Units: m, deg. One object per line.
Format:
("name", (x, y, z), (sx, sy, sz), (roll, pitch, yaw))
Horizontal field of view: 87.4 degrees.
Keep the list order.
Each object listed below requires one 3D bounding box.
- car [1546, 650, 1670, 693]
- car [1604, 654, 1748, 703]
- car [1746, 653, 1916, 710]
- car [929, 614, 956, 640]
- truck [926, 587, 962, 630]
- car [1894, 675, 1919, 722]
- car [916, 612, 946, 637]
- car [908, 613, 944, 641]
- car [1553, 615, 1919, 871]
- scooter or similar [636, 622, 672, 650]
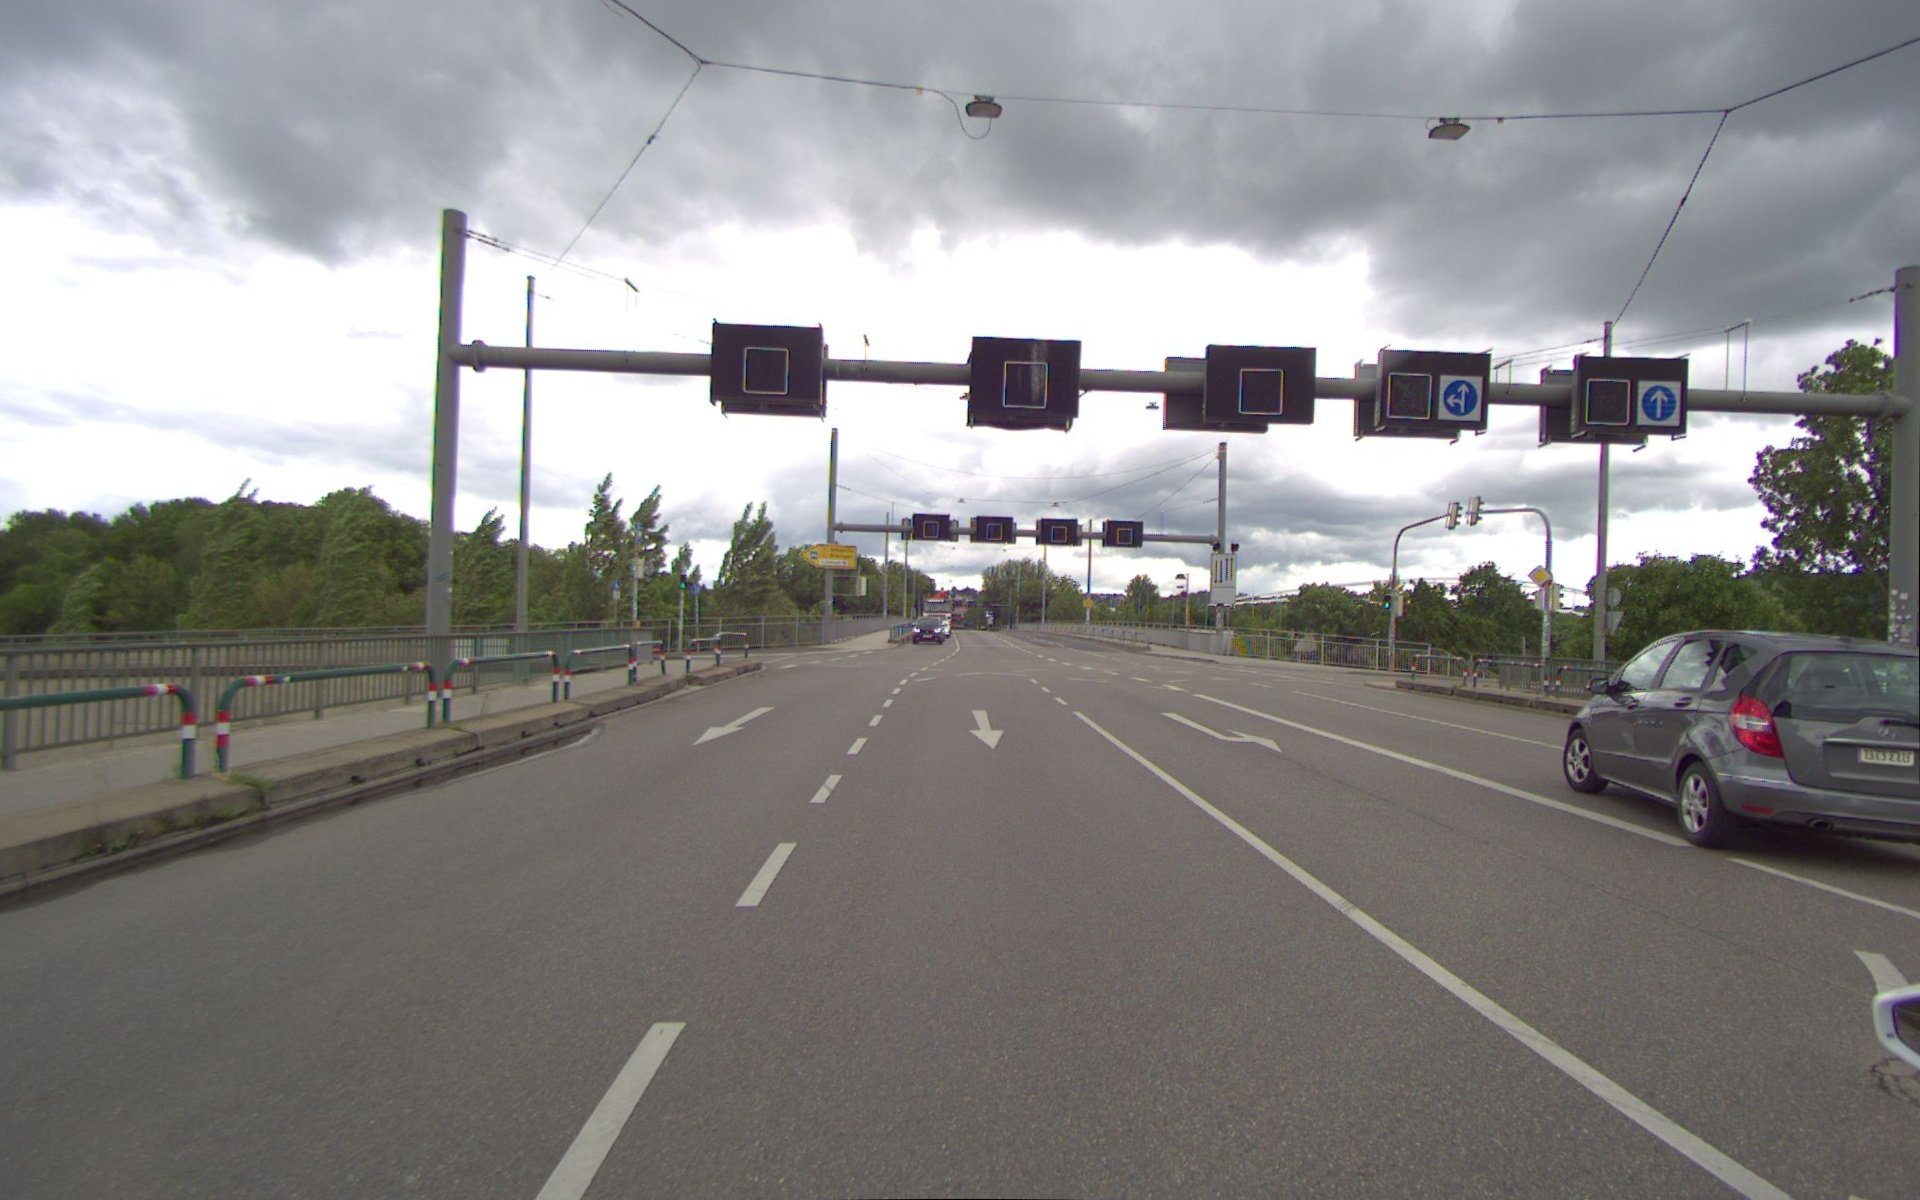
("car", (26.941, 2.950, 41.831), (4.074, 1.439, 1.695), (4, -2, -4))
("car", (24.589, 2.682, 34.574), (3.692, 1.330, 1.791), (4, -2, -1))
("car", (30.479, 2.839, 35.249), (4.259, 1.640, 2.000), (4, -2, -2))
("car", (-1.261, 1.903, 72.490), (1.849, 1.784, 4.802), (1, -1, -1))
("truck", (-1.456, 0.801, 90.639), (2.956, 3.613, 9.981), (1, -1, -1))
("car", (36.406, 3.667, 35.558), (4.867, 1.640, 2.000), (4, -2, -2))
("car", (-1.800, 1.523, 63.499), (1.805, 1.524, 4.516), (1, -1, -1))
("car", (-1.887, 1.494, 57.101), (1.805, 1.524, 3.872), (1, -1, 1))
("car", (6.502, 1.001, 8.322), (1.716, 1.571, 3.873), (3, -1, 15))
("scooter or similar", (-12.170, 1.435, 39.947), (1.311, 1.070, 0.484), (0, 0, -9))
